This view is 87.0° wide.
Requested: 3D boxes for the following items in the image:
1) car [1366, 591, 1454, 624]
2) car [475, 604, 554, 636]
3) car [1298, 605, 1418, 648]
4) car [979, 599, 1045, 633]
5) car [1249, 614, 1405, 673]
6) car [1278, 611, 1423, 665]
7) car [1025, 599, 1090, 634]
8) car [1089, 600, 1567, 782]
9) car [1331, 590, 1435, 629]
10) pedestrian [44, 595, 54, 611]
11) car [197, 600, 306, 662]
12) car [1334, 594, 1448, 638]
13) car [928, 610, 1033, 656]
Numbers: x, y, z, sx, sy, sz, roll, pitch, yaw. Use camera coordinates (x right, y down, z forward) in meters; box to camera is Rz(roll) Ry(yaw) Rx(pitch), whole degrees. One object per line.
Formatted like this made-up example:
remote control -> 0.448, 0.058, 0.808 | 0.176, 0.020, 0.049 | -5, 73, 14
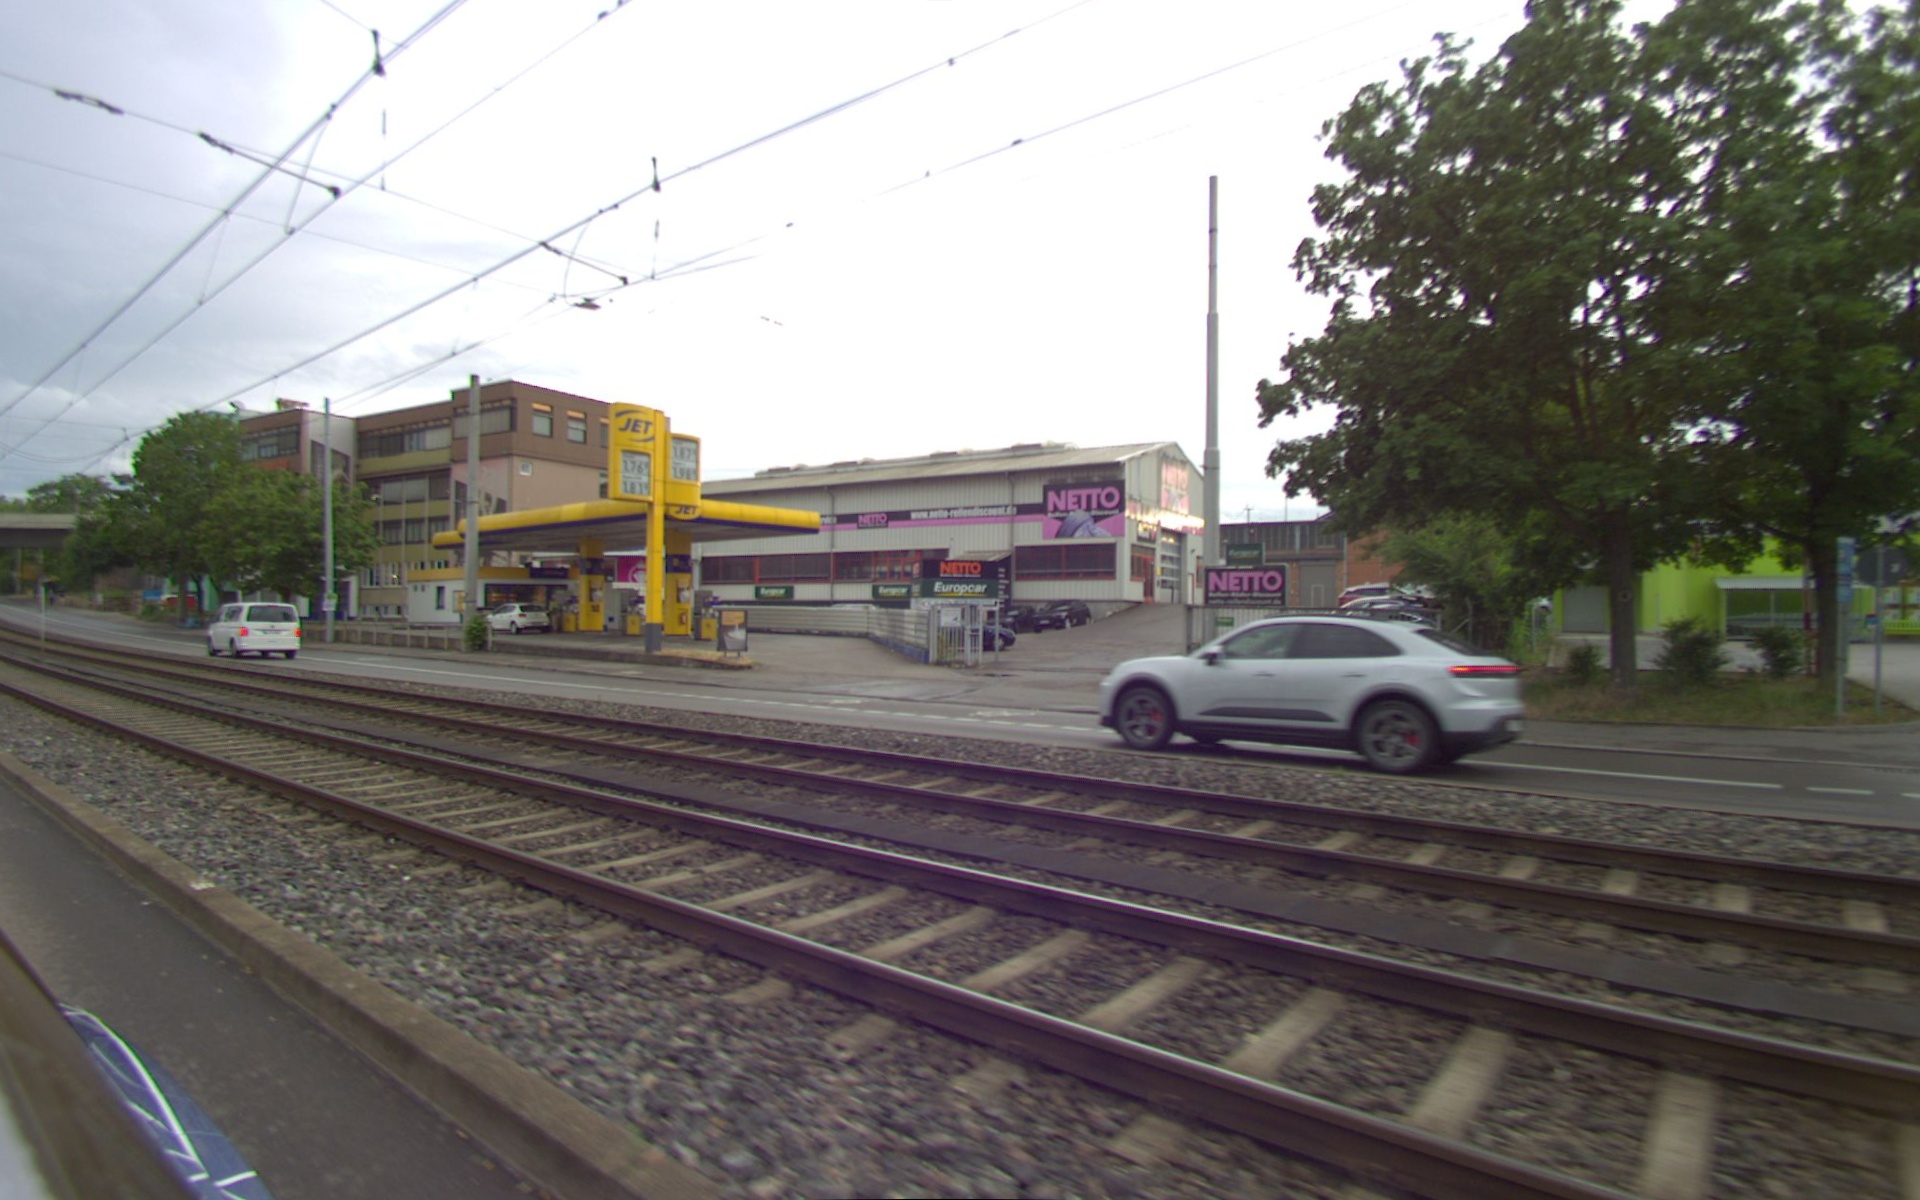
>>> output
car -> 23.441, 0.337, 52.769 | 3.988, 1.630, 1.673 | 1, 1, 33
car -> -21.076, 0.914, 47.828 | 4.070, 1.426, 1.753 | 0, 1, 38
car -> 14.980, 0.969, 38.151 | 3.988, 1.467, 1.673 | 1, 1, 33
car -> 2.812, 0.894, 54.085 | 1.845, 1.662, 4.056 | -1, -3, 31
car -> 10.598, 1.212, 29.324 | 3.988, 1.467, 1.673 | 1, 1, 33
car -> 12.192, 1.144, 31.665 | 3.988, 1.467, 1.673 | 1, 1, 33
car -> 5.116, 0.886, 52.646 | 1.845, 1.662, 4.056 | -1, -3, 31
car -> 4.021, 0.913, 11.567 | 4.756, 1.662, 1.973 | -1, -4, 40
car -> 18.504, 0.388, 44.293 | 3.988, 1.630, 1.673 | 1, 1, 33
pedestrian -> -97.385, 0.330, 108.185 | 1.021, 1.657, 0.737 | 0, -1, 42
car -> -25.540, 1.123, 36.407 | 5.057, 2.029, 1.973 | -1, -4, 41
car -> 17.170, 0.601, 40.358 | 3.988, 1.663, 1.673 | 1, 1, 33
car -> 0.716, 1.183, 37.170 | 3.541, 1.600, 1.707 | 0, 1, -12
